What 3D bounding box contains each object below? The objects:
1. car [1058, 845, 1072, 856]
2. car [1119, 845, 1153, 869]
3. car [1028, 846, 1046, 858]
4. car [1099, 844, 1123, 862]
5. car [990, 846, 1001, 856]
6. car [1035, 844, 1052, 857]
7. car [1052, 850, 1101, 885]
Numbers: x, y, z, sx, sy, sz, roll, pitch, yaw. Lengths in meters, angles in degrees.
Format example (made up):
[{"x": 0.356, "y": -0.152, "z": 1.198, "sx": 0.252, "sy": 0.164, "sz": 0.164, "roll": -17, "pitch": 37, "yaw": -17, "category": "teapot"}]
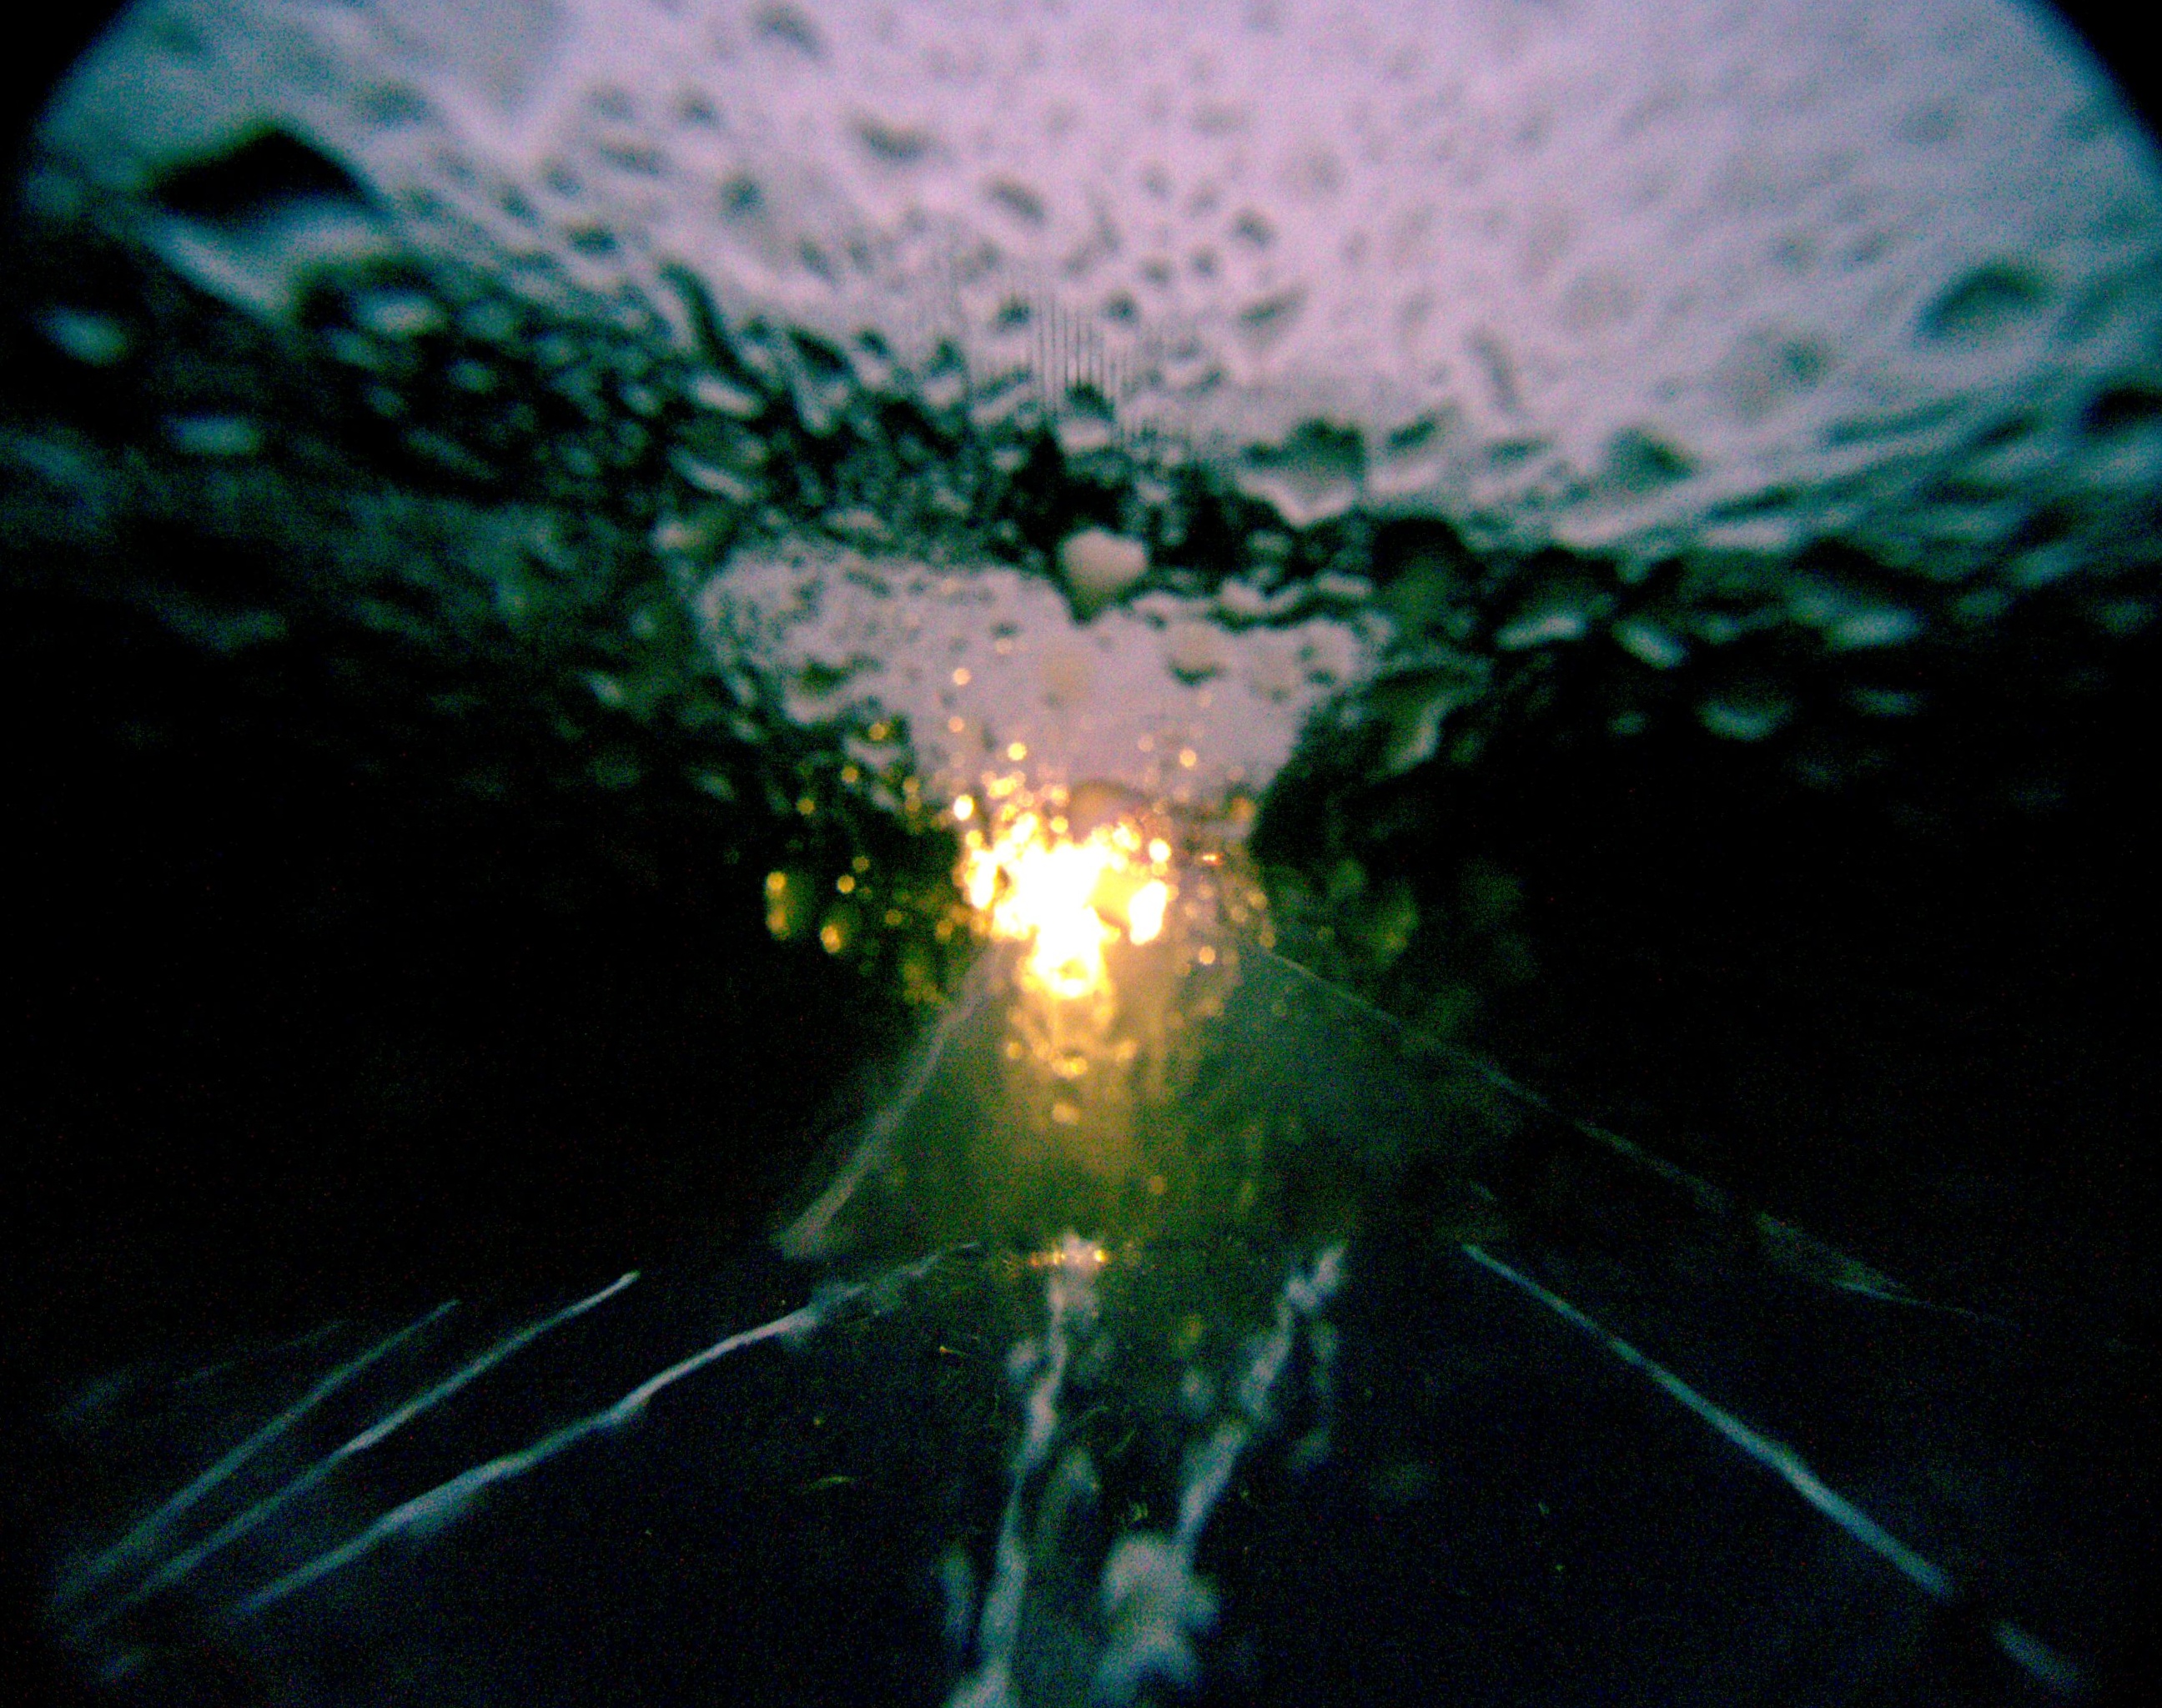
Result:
[{"x": -2.507, "y": -0.555, "z": 118.008, "sx": 1.829, "sy": 1.515, "sz": 4.296, "roll": -3, "pitch": 1, "yaw": -5, "category": "car"}, {"x": 3.763, "y": 0.174, "z": 52.835, "sx": 1.809, "sy": 1.445, "sz": 4.376, "roll": -3, "pitch": 1, "yaw": -3, "category": "car"}, {"x": -6.604, "y": -0.337, "z": 113.245, "sx": 2.012, "sy": 1.547, "sz": 4.512, "roll": -3, "pitch": 2, "yaw": -10, "category": "car"}, {"x": 2.870, "y": -0.119, "z": 74.067, "sx": 1.865, "sy": 1.638, "sz": 4.465, "roll": -2, "pitch": 2, "yaw": -3, "category": "car"}, {"x": -16.349, "y": -0.654, "z": 144.845, "sx": 1.703, "sy": 1.722, "sz": 3.995, "roll": -3, "pitch": 3, "yaw": -11, "category": "car"}, {"x": -5.220, "y": -0.530, "z": 105.735, "sx": 1.718, "sy": 1.618, "sz": 4.213, "roll": -3, "pitch": 1, "yaw": -10, "category": "car"}, {"x": -0.277, "y": 0.552, "z": 35.004, "sx": 1.851, "sy": 1.429, "sz": 4.242, "roll": -3, "pitch": 1, "yaw": -5, "category": "car"}]
